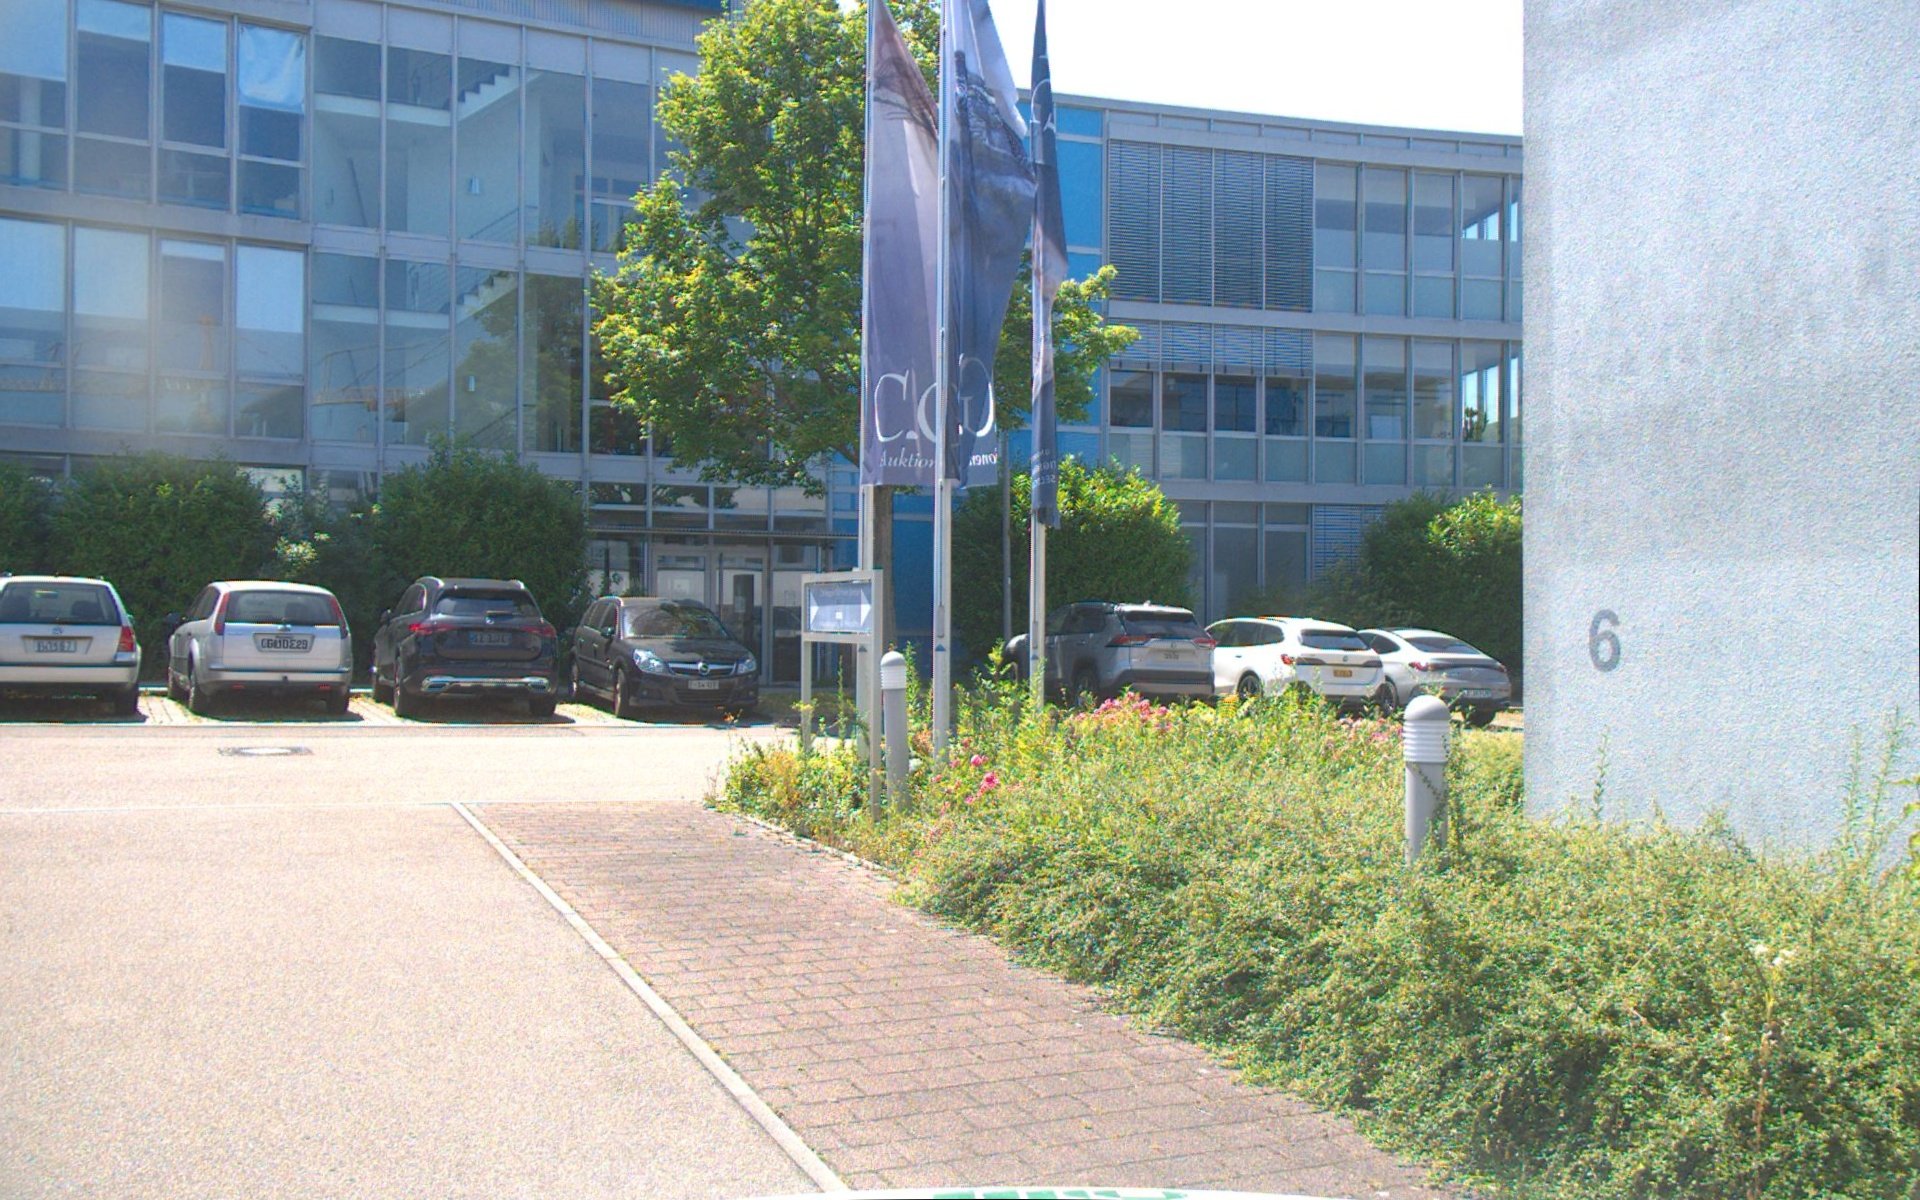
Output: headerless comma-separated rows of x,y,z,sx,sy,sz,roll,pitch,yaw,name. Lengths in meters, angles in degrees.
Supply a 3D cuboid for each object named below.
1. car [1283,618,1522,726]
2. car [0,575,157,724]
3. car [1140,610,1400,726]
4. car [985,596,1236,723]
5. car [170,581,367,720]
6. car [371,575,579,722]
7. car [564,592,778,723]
6.956,1.091,26.490,1.707,1.454,4.321,2,0,-16,car
-10.101,0.499,18.554,1.713,1.474,3.618,2,0,-30,car
4.638,0.987,25.409,1.714,1.518,4.305,2,0,-25,car
2.124,0.818,24.664,1.796,1.648,4.305,1,1,-25,car
-8.441,0.559,20.026,1.746,1.474,3.618,2,0,-30,car
-6.210,0.546,20.895,1.903,1.639,3.955,2,0,-25,car
-3.936,0.691,21.954,1.747,1.508,4.225,1,1,-25,car
